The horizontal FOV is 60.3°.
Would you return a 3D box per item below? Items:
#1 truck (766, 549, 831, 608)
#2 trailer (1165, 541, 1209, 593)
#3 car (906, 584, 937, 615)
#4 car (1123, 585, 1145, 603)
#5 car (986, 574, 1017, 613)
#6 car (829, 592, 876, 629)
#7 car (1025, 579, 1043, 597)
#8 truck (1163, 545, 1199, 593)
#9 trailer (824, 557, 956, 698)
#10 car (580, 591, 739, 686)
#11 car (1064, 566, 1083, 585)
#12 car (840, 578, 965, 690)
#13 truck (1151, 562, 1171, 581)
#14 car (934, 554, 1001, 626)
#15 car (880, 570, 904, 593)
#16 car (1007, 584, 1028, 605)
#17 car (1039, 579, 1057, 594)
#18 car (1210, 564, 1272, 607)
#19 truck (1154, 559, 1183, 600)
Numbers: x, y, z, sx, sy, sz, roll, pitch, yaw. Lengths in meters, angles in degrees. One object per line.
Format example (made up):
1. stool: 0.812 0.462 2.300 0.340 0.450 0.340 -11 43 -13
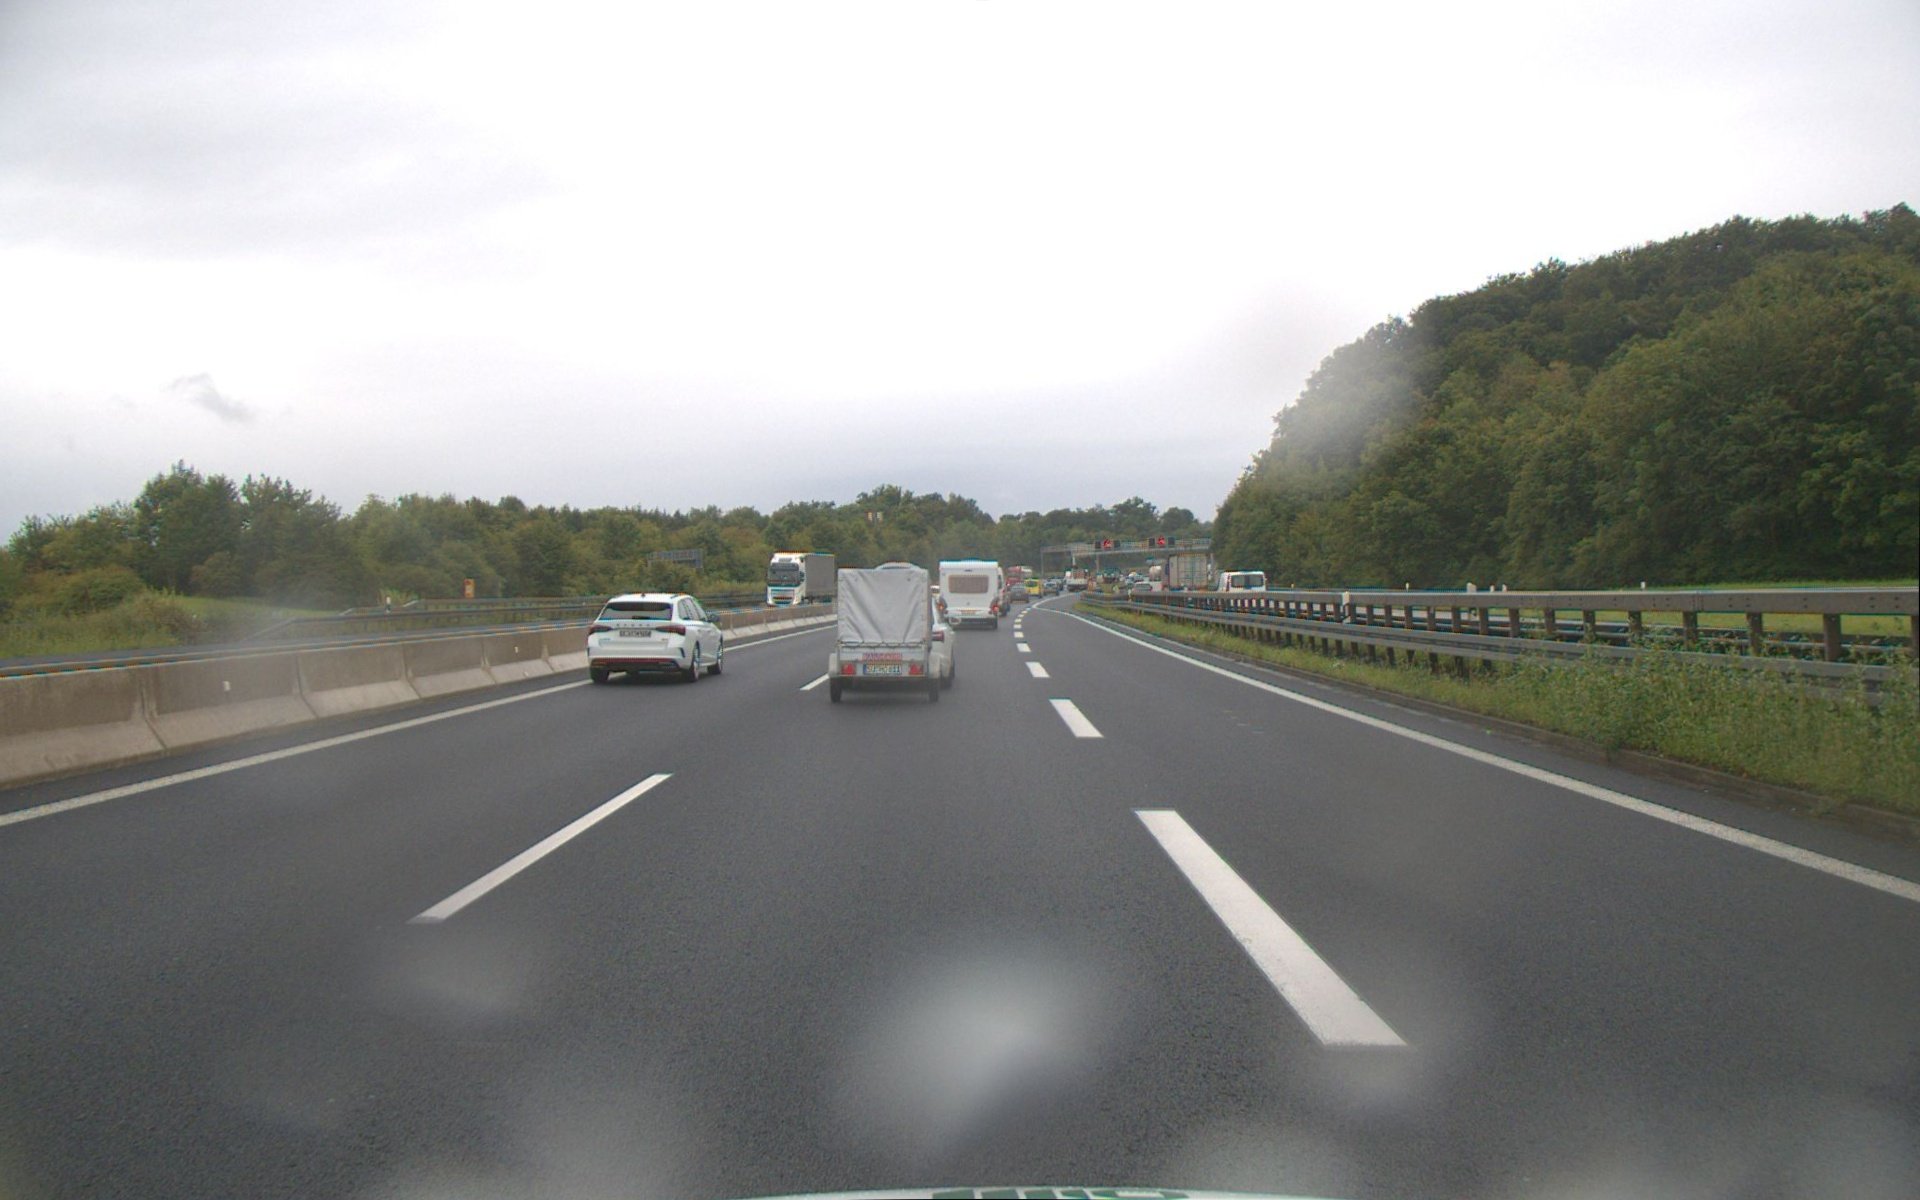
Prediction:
1. truck: -12.091 -1.540 124.969 2.729 4.164 12.305 -1 0 4
2. trailer: 18.765 -2.676 137.202 2.549 3.962 12.495 -1 0 3
3. car: -2.477 -0.052 107.801 1.953 1.952 3.999 -1 0 -1
4. car: 14.798 -0.534 140.422 1.632 1.407 4.128 -3 0 4
5. car: 2.286 -0.348 91.235 1.641 2.103 4.001 -1 0 1
6. car: -4.552 0.443 70.578 1.641 1.481 4.000 -1 0 1
7. car: 7.926 -1.304 176.302 1.640 1.844 4.003 -1 0 7
8. truck: 19.125 -2.649 143.629 2.561 3.953 6.394 -1 0 3
9. trailer: -0.932 0.371 23.944 1.641 1.844 4.000 -1 0 1
10. car: -5.125 0.627 28.834 1.781 1.481 4.778 -1 0 1
11. car: 16.494 -3.534 240.098 2.462 2.620 5.316 -1 0 7
12. car: -0.854 0.521 27.093 1.781 1.644 4.778 -1 0 1
13. truck: 31.068 -4.407 255.845 2.783 2.773 9.308 -1 0 6
14. car: 0.234 -0.359 64.626 2.456 2.631 5.698 -1 0 -1
15. car: -6.131 -1.638 149.493 1.701 1.953 4.318 -1 0 4
16. car: 5.102 -0.469 145.374 1.640 1.844 4.002 -1 0 5
17. car: 10.713 -1.616 200.660 1.994 1.712 4.002 -1 0 5
18. car: 11.713 -0.576 69.284 1.869 1.723 4.719 -1 0 1
19. truck: 25.675 -2.461 204.320 3.147 4.748 13.041 -1 0 6
